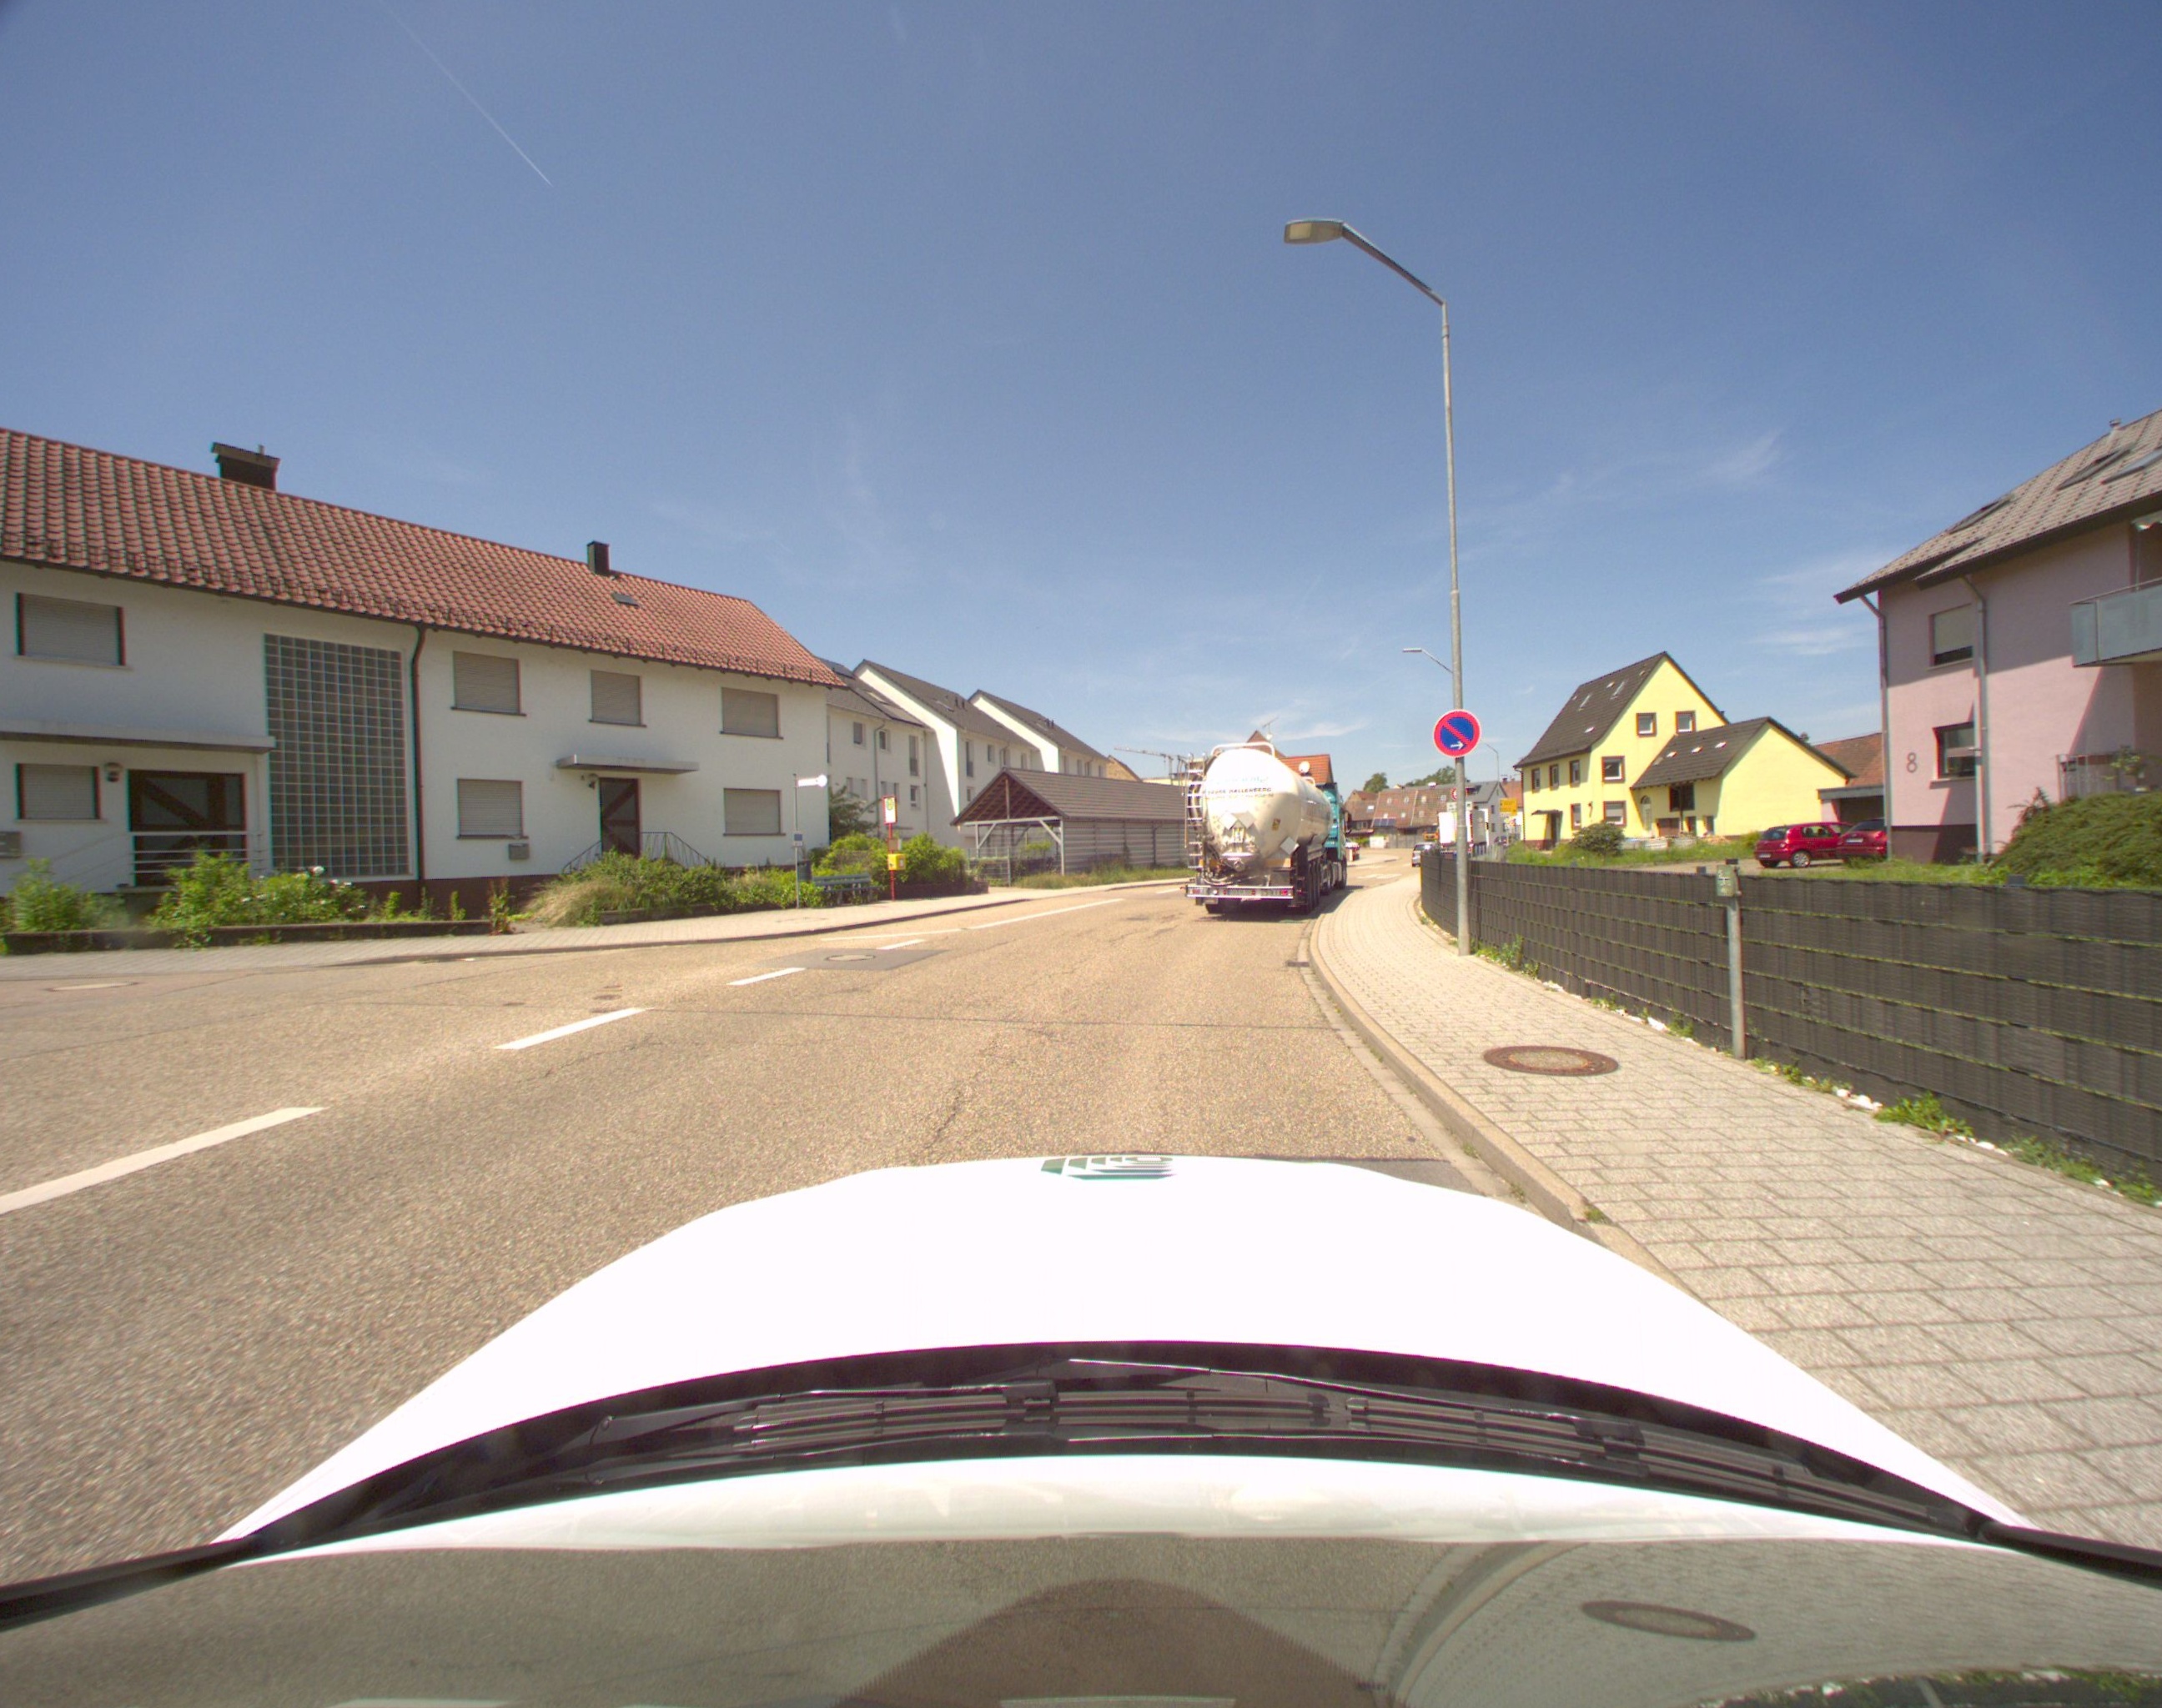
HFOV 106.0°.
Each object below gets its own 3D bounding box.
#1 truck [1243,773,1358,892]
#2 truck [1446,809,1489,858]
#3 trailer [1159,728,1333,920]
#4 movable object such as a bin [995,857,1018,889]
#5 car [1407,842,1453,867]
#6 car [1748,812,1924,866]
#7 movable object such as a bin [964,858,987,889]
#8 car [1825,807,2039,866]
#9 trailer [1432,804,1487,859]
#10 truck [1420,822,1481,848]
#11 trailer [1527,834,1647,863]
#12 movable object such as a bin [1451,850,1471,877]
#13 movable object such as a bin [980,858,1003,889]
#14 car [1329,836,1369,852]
[{"bbox_3d":[8.275,-0.725,30.225,2.960,3.965,5.612,-2,0,27],"label":"truck"},{"bbox_3d":[36.342,-1.871,76.554,3.075,4.401,5.972,-2,0,30],"label":"truck"},{"bbox_3d":[5.143,-0.631,22.729,2.928,3.948,11.678,-1,0,20],"label":"trailer"},{"bbox_3d":[-3.064,0.782,33.567,0.634,1.278,0.698,-1,0,31],"label":"movable object such as a bin"},{"bbox_3d":[22.422,0.006,52.223,1.824,1.486,4.026,-2,0,36],"label":"car"},{"bbox_3d":[24.204,-0.469,26.236,3.803,1.486,1.766,-3,0,8],"label":"car"},{"bbox_3d":[-4.446,0.828,34.335,0.634,1.278,0.698,-1,0,31],"label":"movable object such as a bin"},{"bbox_3d":[24.577,-0.481,23.652,4.093,1.548,1.853,-1,0,4],"label":"car"},{"bbox_3d":[32.999,-1.828,70.654,3.102,4.277,12.573,-2,0,30],"label":"trailer"},{"bbox_3d":[46.749,-2.409,103.043,7.470,3.181,2.649,0,-1,-23],"label":"truck"},{"bbox_3d":[28.281,-0.302,45.647,5.325,1.546,2.140,-1,0,2],"label":"trailer"},{"bbox_3d":[14.888,0.366,31.902,0.560,1.057,0.654,-2,-1,16],"label":"movable object such as a bin"},{"bbox_3d":[-3.736,0.805,33.967,0.634,1.278,0.698,-1,0,31],"label":"movable object such as a bin"},{"bbox_3d":[32.845,-1.204,99.897,1.888,1.785,4.471,-3,2,-37],"label":"car"}]
